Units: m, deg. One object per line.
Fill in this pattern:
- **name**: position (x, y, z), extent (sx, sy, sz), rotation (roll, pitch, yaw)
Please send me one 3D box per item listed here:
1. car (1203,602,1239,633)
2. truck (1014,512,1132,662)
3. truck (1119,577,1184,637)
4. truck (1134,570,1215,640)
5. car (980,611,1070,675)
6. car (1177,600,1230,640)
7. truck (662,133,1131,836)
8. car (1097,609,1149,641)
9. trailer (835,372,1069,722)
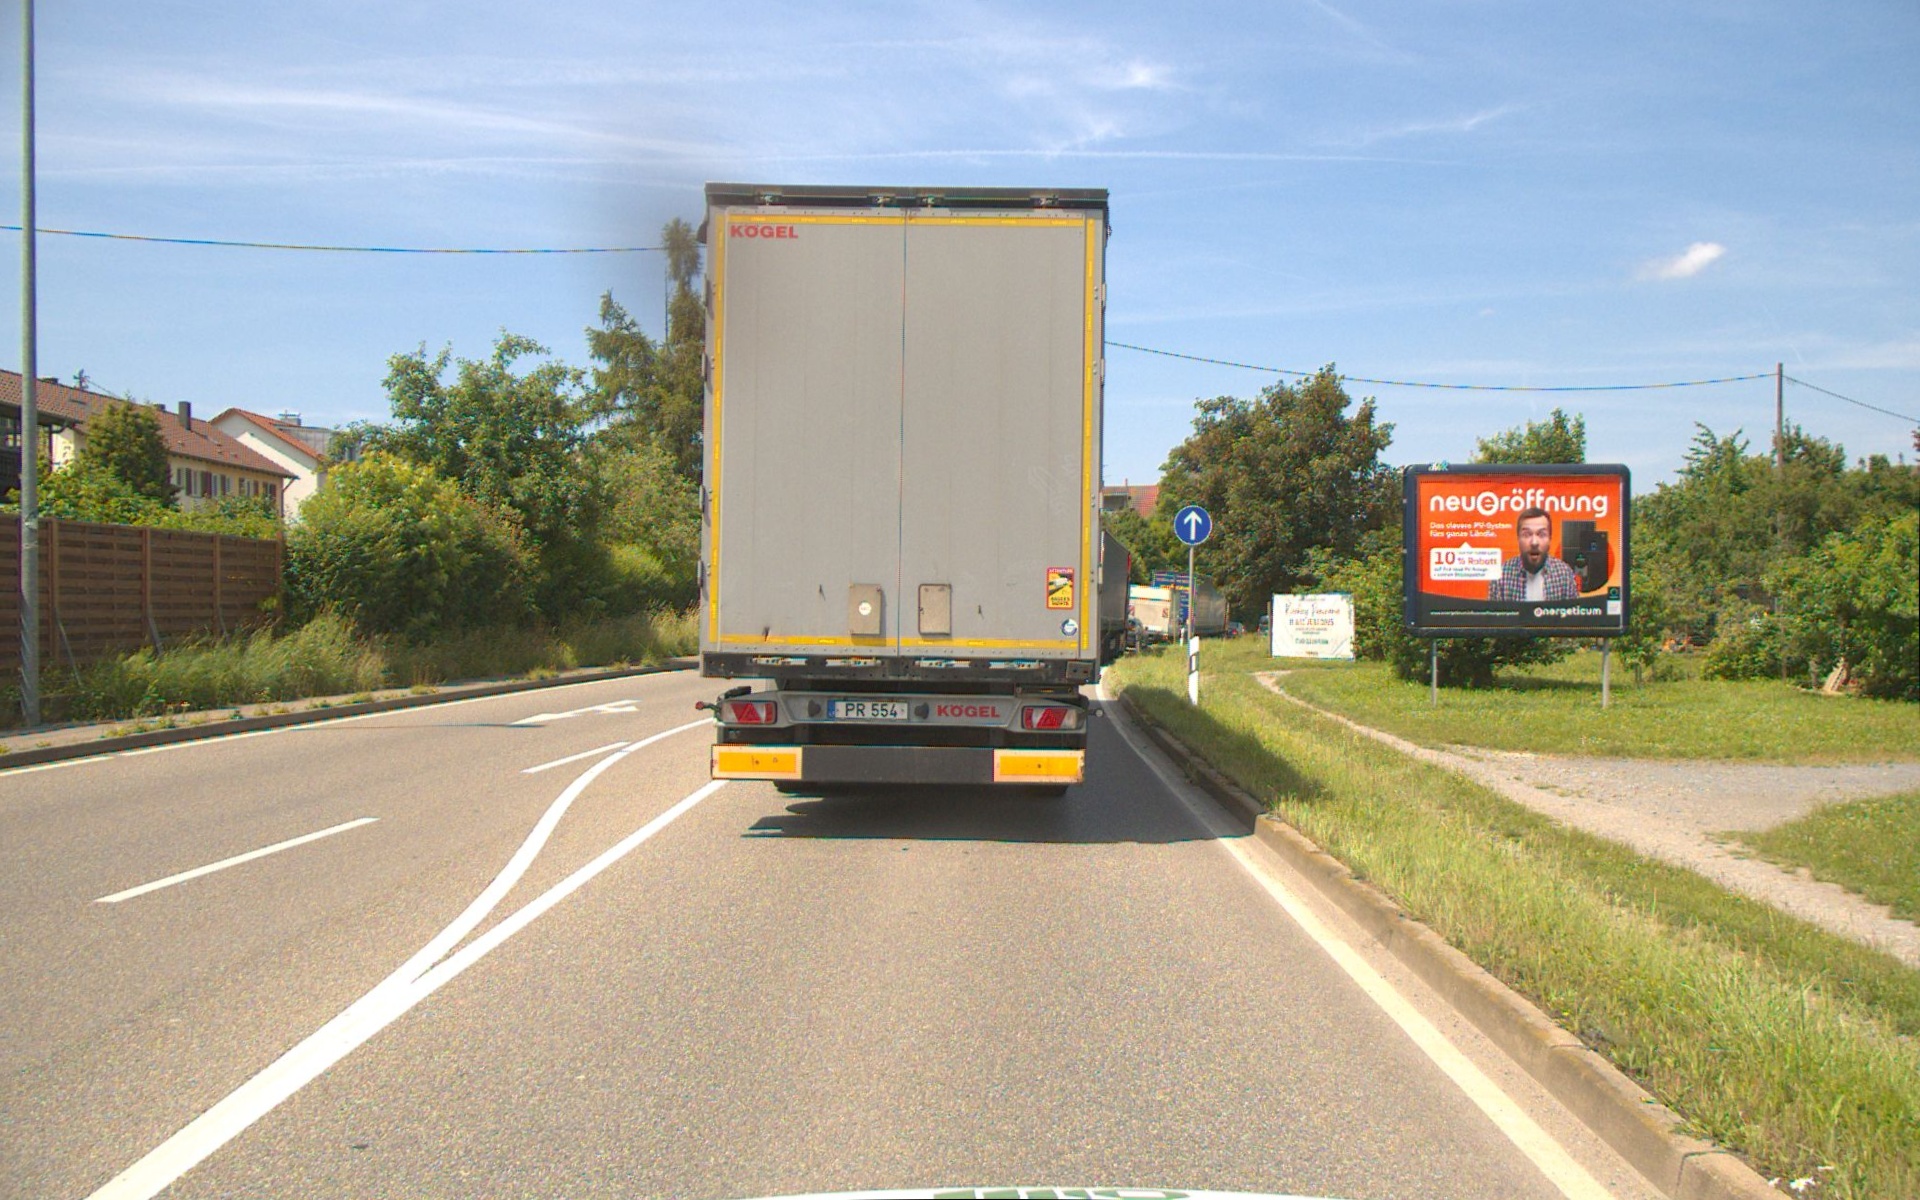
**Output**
- **car**: position (17.549, 1.188, 110.976), extent (1.951, 2.049, 4.003), rotation (1, -1, 15)
- **truck**: position (4.144, -0.260, 56.622), extent (2.701, 4.364, 16.427), rotation (1, -1, 8)
- **truck**: position (9.707, 0.375, 83.299), extent (2.489, 2.852, 6.036), rotation (1, -1, 13)
- **truck**: position (12.228, 0.238, 93.456), extent (3.360, 3.667, 9.361), rotation (1, 0, 14)
- **car**: position (1.560, 0.983, 38.634), extent (1.780, 1.370, 3.850), rotation (1, -1, 7)
- **car**: position (15.026, 1.194, 101.672), extent (2.478, 2.317, 6.386), rotation (1, 0, 15)
- **truck**: position (-0.225, -0.731, 15.711), extent (2.763, 4.200, 11.446), rotation (1, 0, 2)
- **car**: position (7.452, 1.139, 75.362), extent (1.951, 1.400, 4.003), rotation (1, -1, 11)
- **trailer**: position (-0.011, -0.652, 23.124), extent (2.767, 4.183, 6.545), rotation (1, 0, 1)
